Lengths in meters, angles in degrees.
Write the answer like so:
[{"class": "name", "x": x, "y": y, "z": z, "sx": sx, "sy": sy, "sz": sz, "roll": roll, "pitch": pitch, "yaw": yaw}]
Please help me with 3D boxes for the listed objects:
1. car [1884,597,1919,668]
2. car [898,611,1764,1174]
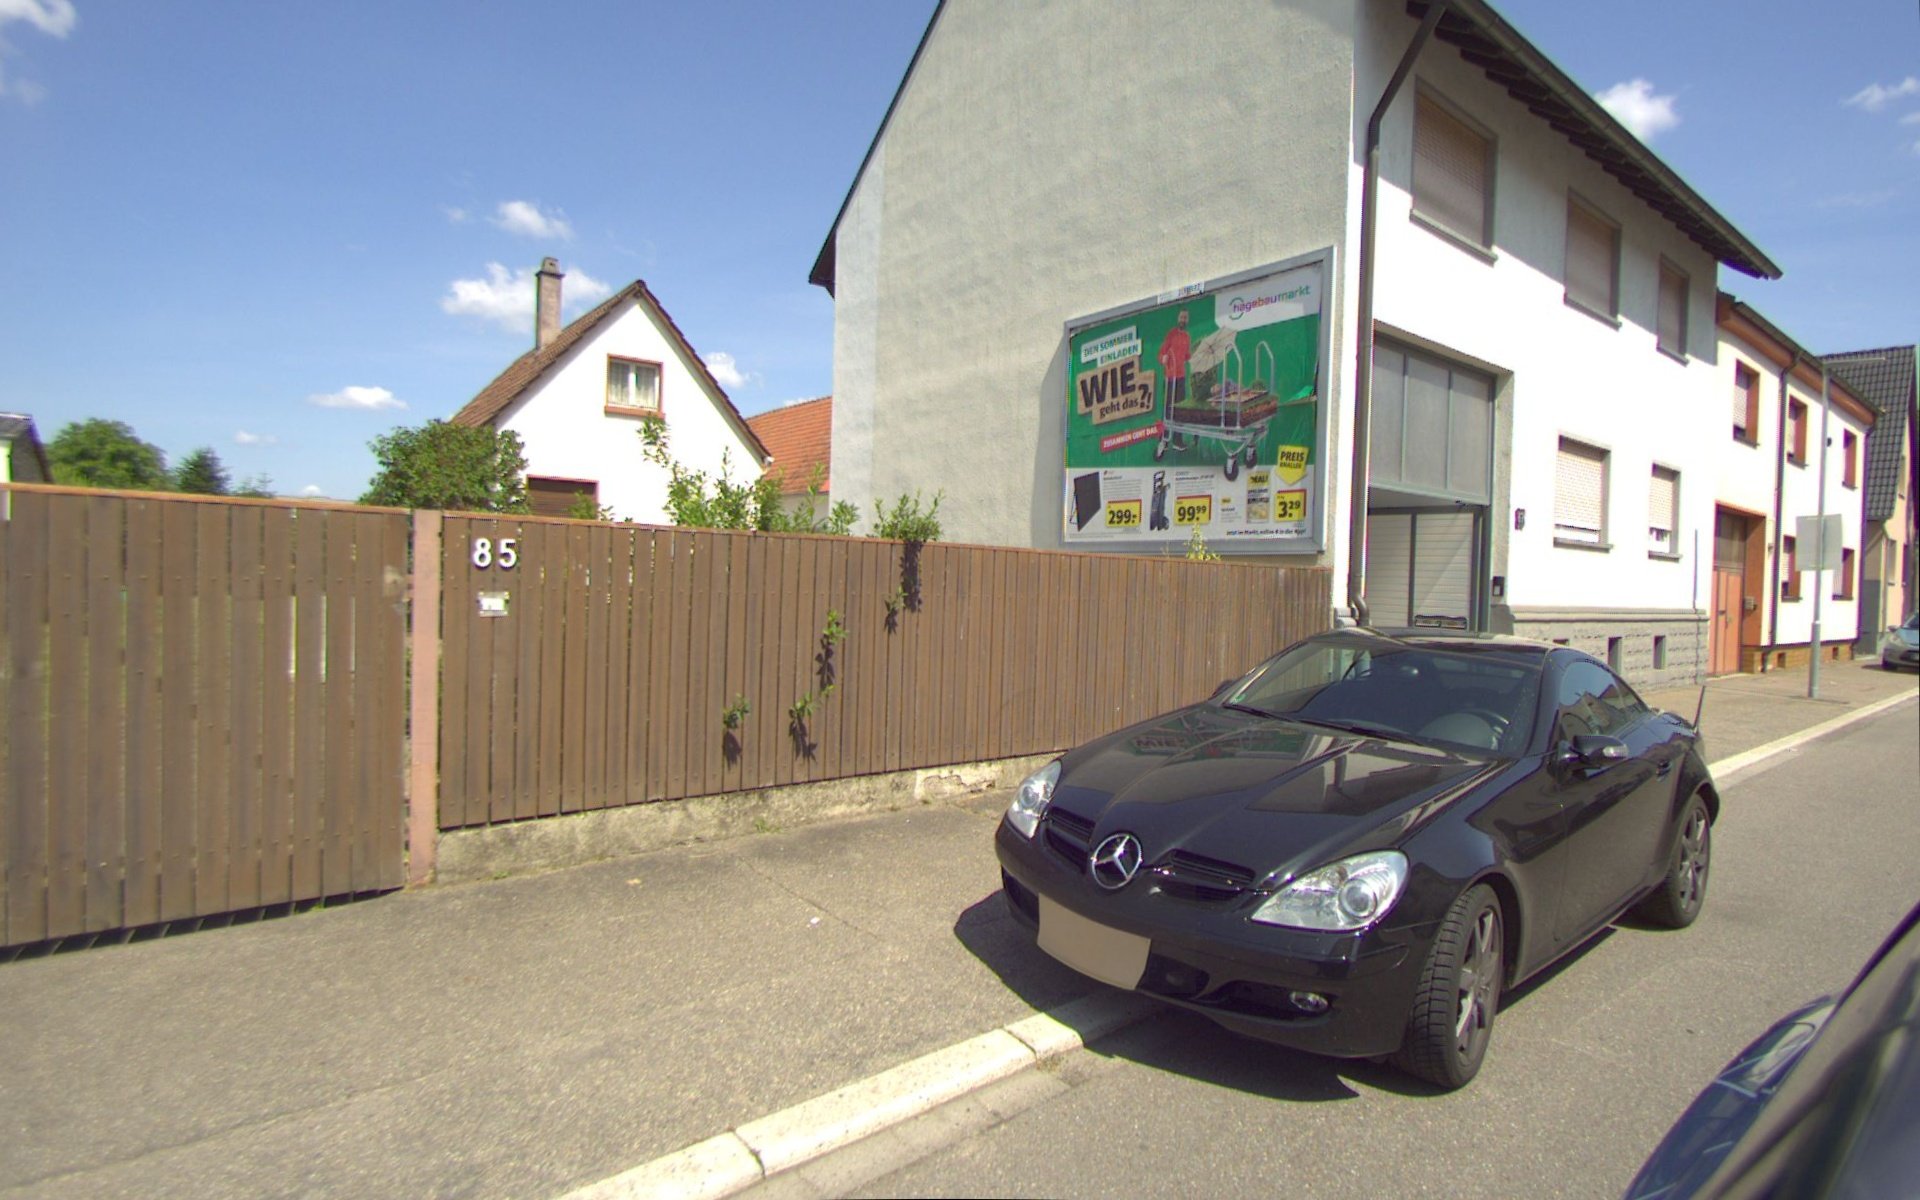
[{"class": "car", "x": 22.704, "y": 0.780, "z": 23.023, "sx": 3.679, "sy": 1.499, "sz": 1.728, "roll": 1, "pitch": 4, "yaw": -37}, {"class": "car", "x": 1.905, "y": 0.738, "z": 4.488, "sx": 4.073, "sy": 1.291, "sz": 1.820, "roll": 0, "pitch": 1, "yaw": -40}]
